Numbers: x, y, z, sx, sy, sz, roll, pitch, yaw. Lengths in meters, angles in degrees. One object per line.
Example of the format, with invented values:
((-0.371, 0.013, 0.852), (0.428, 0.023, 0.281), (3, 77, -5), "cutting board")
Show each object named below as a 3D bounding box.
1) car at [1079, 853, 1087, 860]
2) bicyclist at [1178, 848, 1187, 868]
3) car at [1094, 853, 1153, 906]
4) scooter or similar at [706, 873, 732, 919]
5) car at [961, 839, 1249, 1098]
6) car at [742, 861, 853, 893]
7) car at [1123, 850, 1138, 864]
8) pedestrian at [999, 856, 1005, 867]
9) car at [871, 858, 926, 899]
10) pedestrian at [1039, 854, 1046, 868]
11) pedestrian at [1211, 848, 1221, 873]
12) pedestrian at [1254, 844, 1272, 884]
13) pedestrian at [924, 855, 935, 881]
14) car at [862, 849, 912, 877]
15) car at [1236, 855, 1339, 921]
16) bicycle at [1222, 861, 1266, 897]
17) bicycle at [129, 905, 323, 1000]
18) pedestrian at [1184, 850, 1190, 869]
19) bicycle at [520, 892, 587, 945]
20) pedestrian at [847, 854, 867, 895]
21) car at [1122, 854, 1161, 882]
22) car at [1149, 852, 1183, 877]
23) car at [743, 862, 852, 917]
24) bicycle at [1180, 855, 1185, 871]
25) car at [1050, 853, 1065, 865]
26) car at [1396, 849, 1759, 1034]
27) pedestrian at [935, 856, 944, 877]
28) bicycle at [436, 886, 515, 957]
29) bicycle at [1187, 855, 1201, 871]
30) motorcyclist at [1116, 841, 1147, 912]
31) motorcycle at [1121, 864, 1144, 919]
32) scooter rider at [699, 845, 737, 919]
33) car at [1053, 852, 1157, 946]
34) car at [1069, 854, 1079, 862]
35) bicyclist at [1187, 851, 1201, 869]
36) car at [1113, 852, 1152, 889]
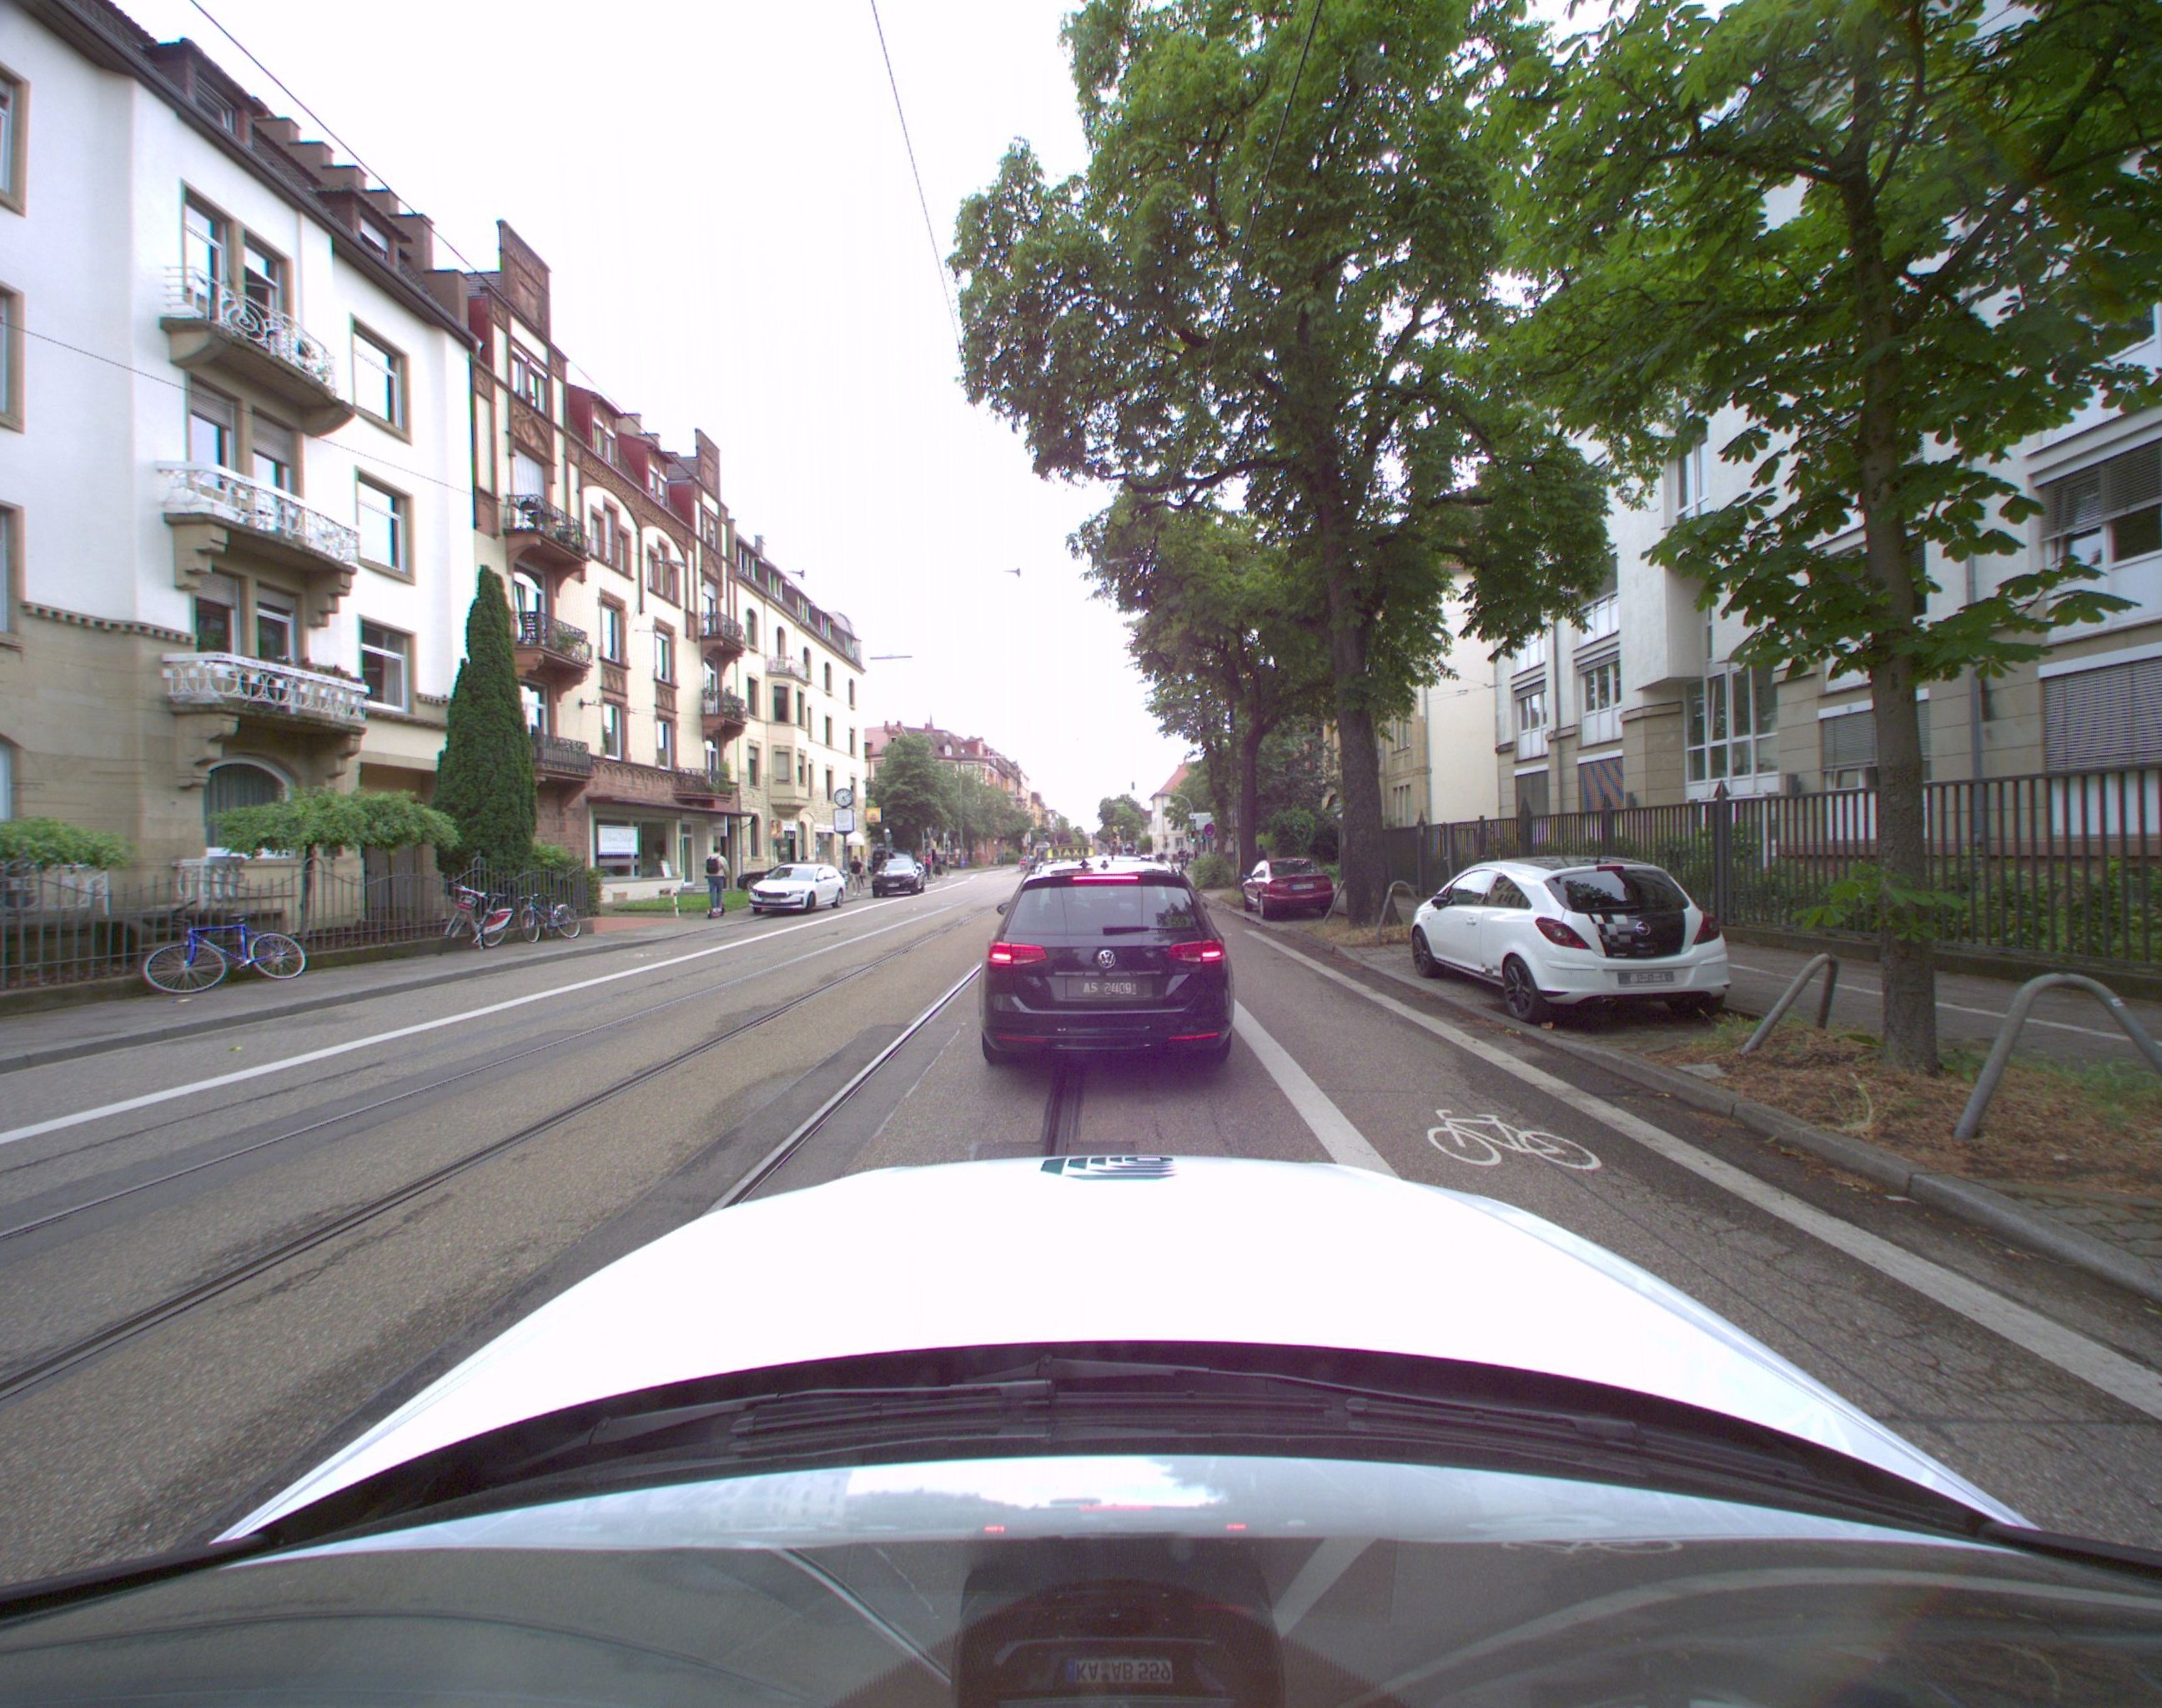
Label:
((0.462, 0.498, 199.784), (1.715, 1.622, 3.864), (-2, 0, 1), "car")
((8.043, 0.344, 64.577), (0.647, 1.568, 0.697), (-2, 0, 8), "bicyclist")
((1.327, 0.754, 26.228), (1.717, 1.546, 4.002), (-1, 0, 2), "car")
((-10.173, 1.172, 22.907), (0.230, 1.234, 0.954), (-2, 0, 2), "scooter or similar")
((0.211, 0.692, 6.938), (1.717, 1.546, 4.002), (-1, 0, 2), "car")
((-12.982, 1.055, 37.468), (4.415, 1.370, 1.878), (1, 0, -3), "car")
((7.001, 0.451, 116.182), (2.025, 2.014, 4.001), (0, -1, 2), "car")
((-10.752, 0.983, 110.955), (0.582, 1.520, 0.653), (-2, 0, 37), "pedestrian")
((-8.312, 1.059, 37.505), (1.881, 1.611, 4.875), (-4, 0, -7), "car")
((-4.485, 0.818, 95.496), (0.711, 1.520, 0.590), (-2, 0, 3), "pedestrian")
((9.892, 0.464, 59.633), (0.510, 1.831, 0.420), (-5, 0, 18), "pedestrian")
((8.597, 0.467, 38.410), (0.630, 1.815, 0.726), (-2, 0, -1), "pedestrian")
((-10.981, 0.995, 58.885), (0.621, 1.842, 0.609), (-2, 0, -1), "pedestrian")
((-17.703, 0.794, 74.066), (2.197, 2.417, 5.316), (-1, 0, -41), "car")
((5.101, 0.775, 20.672), (1.596, 1.399, 4.229), (-3, 0, 2), "car")
((5.635, 0.851, 28.075), (1.915, 1.198, 0.428), (0, -2, -43), "bicycle")
((-10.814, 1.209, 10.393), (0.356, 0.928, 1.663), (-21, -1, 4), "bicycle")
((8.714, 0.451, 67.112), (0.447, 1.562, 0.480), (-2, 0, 9), "pedestrian")
((-10.695, 1.291, 16.561), (0.331, 0.938, 1.516), (-2, 0, 1), "bicycle")
((-10.233, 0.937, 37.202), (0.667, 1.844, 0.880), (-2, 0, -7), "pedestrian")
((3.480, 0.771, 46.067), (1.881, 1.408, 4.009), (-2, 0, 8), "car")
((5.690, 0.687, 54.727), (1.986, 1.577, 4.001), (0, -1, 2), "car")
((-8.891, 1.049, 25.985), (1.741, 1.484, 4.609), (-2, 0, 1), "car")
((8.010, 0.732, 64.501), (0.295, 1.223, 1.434), (-2, 0, 9), "bicycle")
((-3.771, 0.841, 130.338), (1.985, 1.791, 4.004), (0, -1, 4), "car")
((4.829, 0.719, 8.619), (1.596, 1.435, 3.779), (-3, 0, 3), "car")
((-11.248, 1.014, 64.670), (0.587, 1.663, 0.839), (-2, 0, -2), "pedestrian")
((-10.541, 1.147, 14.230), (0.385, 1.102, 1.620), (-2, 0, -9), "bicycle")
((8.455, 0.692, 61.153), (1.162, 1.196, 0.250), (-2, 0, -37), "bicycle")
((1.233, 0.543, 19.987), (0.700, 1.692, 0.805), (-2, 0, 1), "motorcyclist")
((1.239, 0.884, 19.757), (0.445, 1.235, 1.907), (-2, 0, 2), "motorcycle")
((-10.202, 0.769, 22.914), (0.639, 2.013, 0.758), (-2, 0, 1), "scooter rider")
((0.460, 0.756, 15.658), (1.717, 1.546, 4.002), (-1, 0, 2), "car")
((-1.451, 0.746, 169.672), (1.715, 1.622, 3.864), (-2, 0, 1), "car")
((8.488, 0.471, 61.137), (0.699, 1.302, 0.646), (-2, 0, -35), "bicyclist")
((2.277, 0.716, 36.572), (1.600, 1.556, 3.579), (0, -1, 2), "car")
